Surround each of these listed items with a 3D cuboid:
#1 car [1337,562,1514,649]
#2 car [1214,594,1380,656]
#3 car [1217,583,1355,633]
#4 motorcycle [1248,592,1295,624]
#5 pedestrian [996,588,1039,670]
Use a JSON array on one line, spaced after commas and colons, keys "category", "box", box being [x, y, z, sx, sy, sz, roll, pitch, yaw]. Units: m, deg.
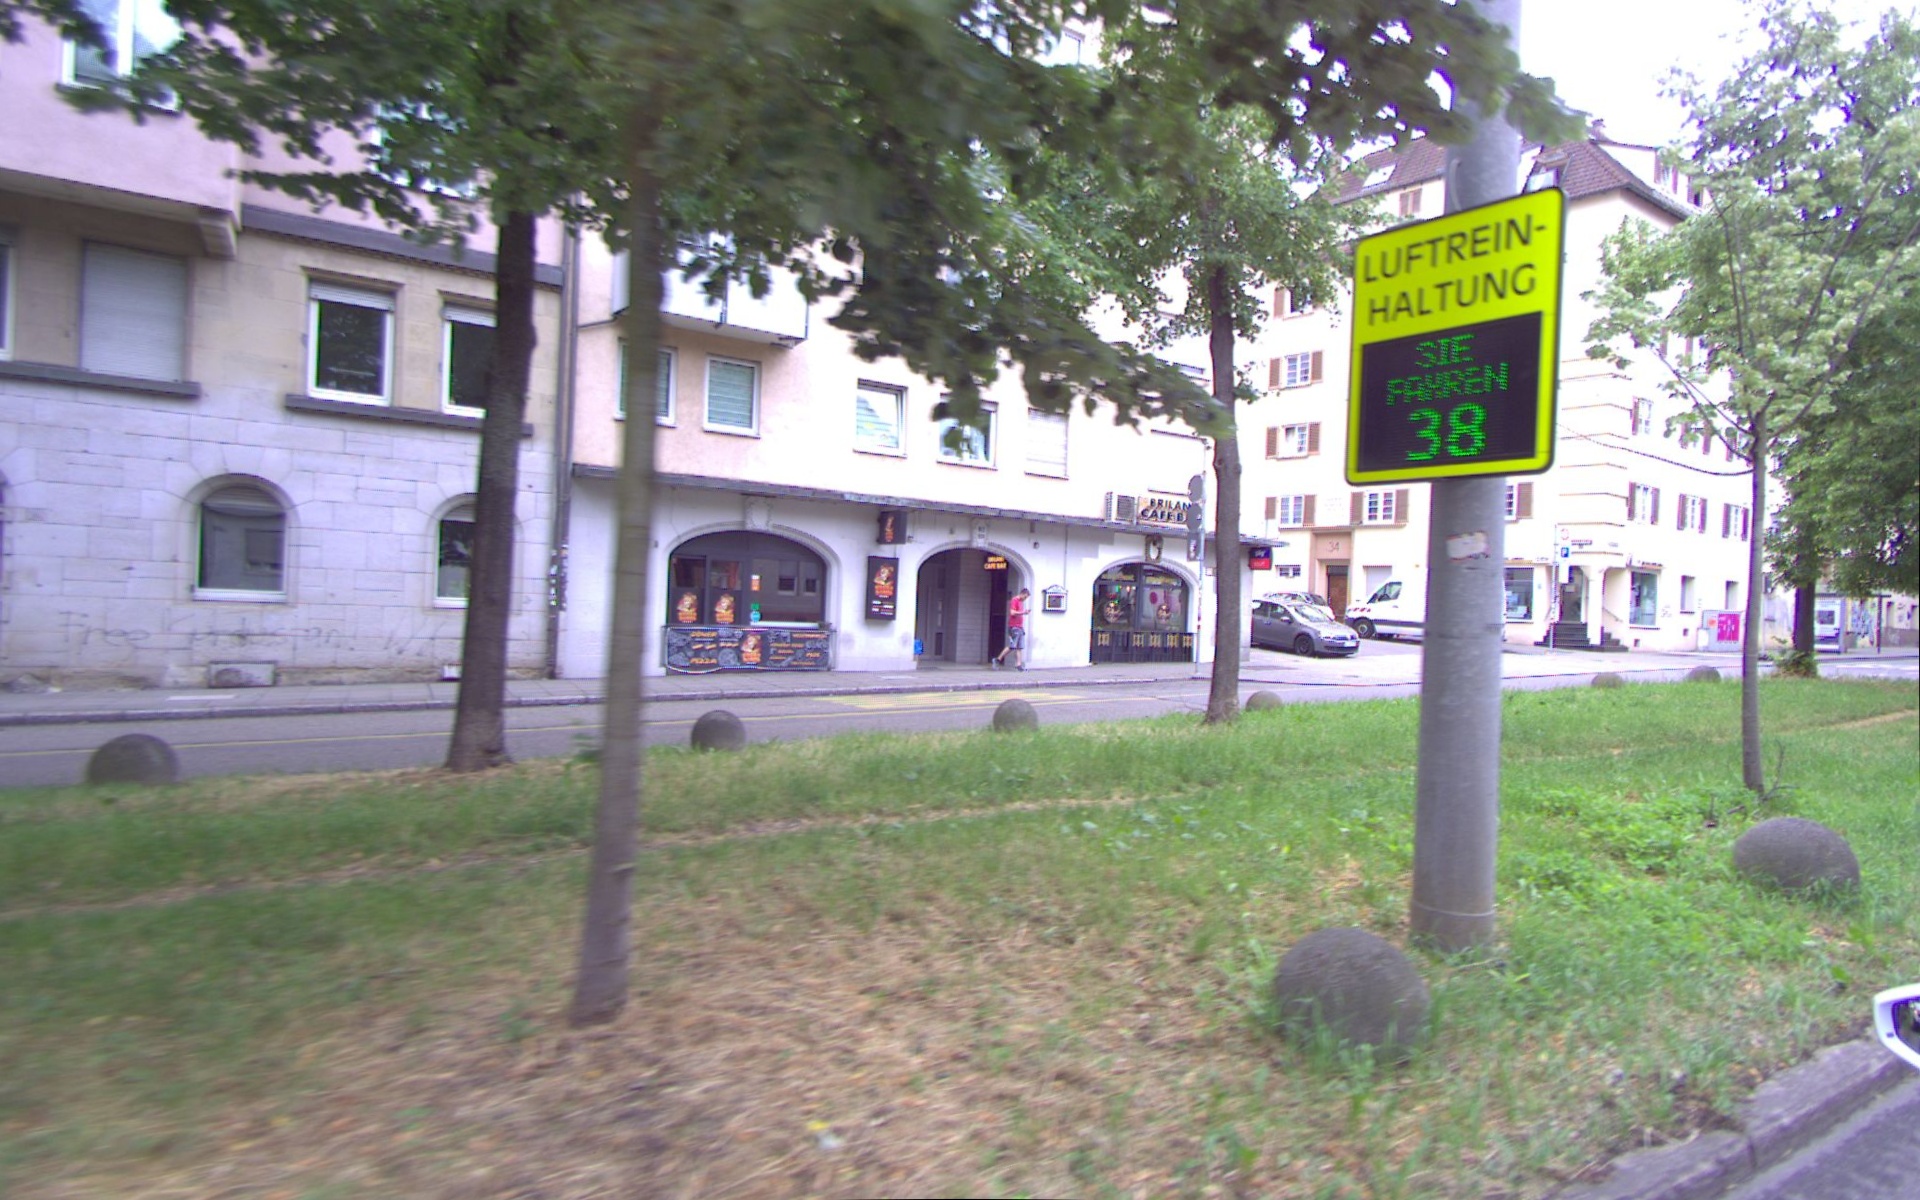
[{"category": "car", "box": [16.186, 0.139, 35.151, 2.162, 2.773, 5.123, 1, 1, -43]}, {"category": "car", "box": [9.659, 0.662, 29.095, 2.023, 1.439, 4.267, 0, 3, -30]}, {"category": "car", "box": [12.677, 0.271, 39.318, 1.987, 1.658, 4.709, 1, 2, -44]}, {"category": "motorcycle", "box": [13.454, 0.331, 43.422, 0.678, 1.352, 1.843, 1, 1, -40]}, {"category": "pedestrian", "box": [1.197, 0.592, 20.973, 0.693, 1.688, 0.529, 1, 0, -30]}]
